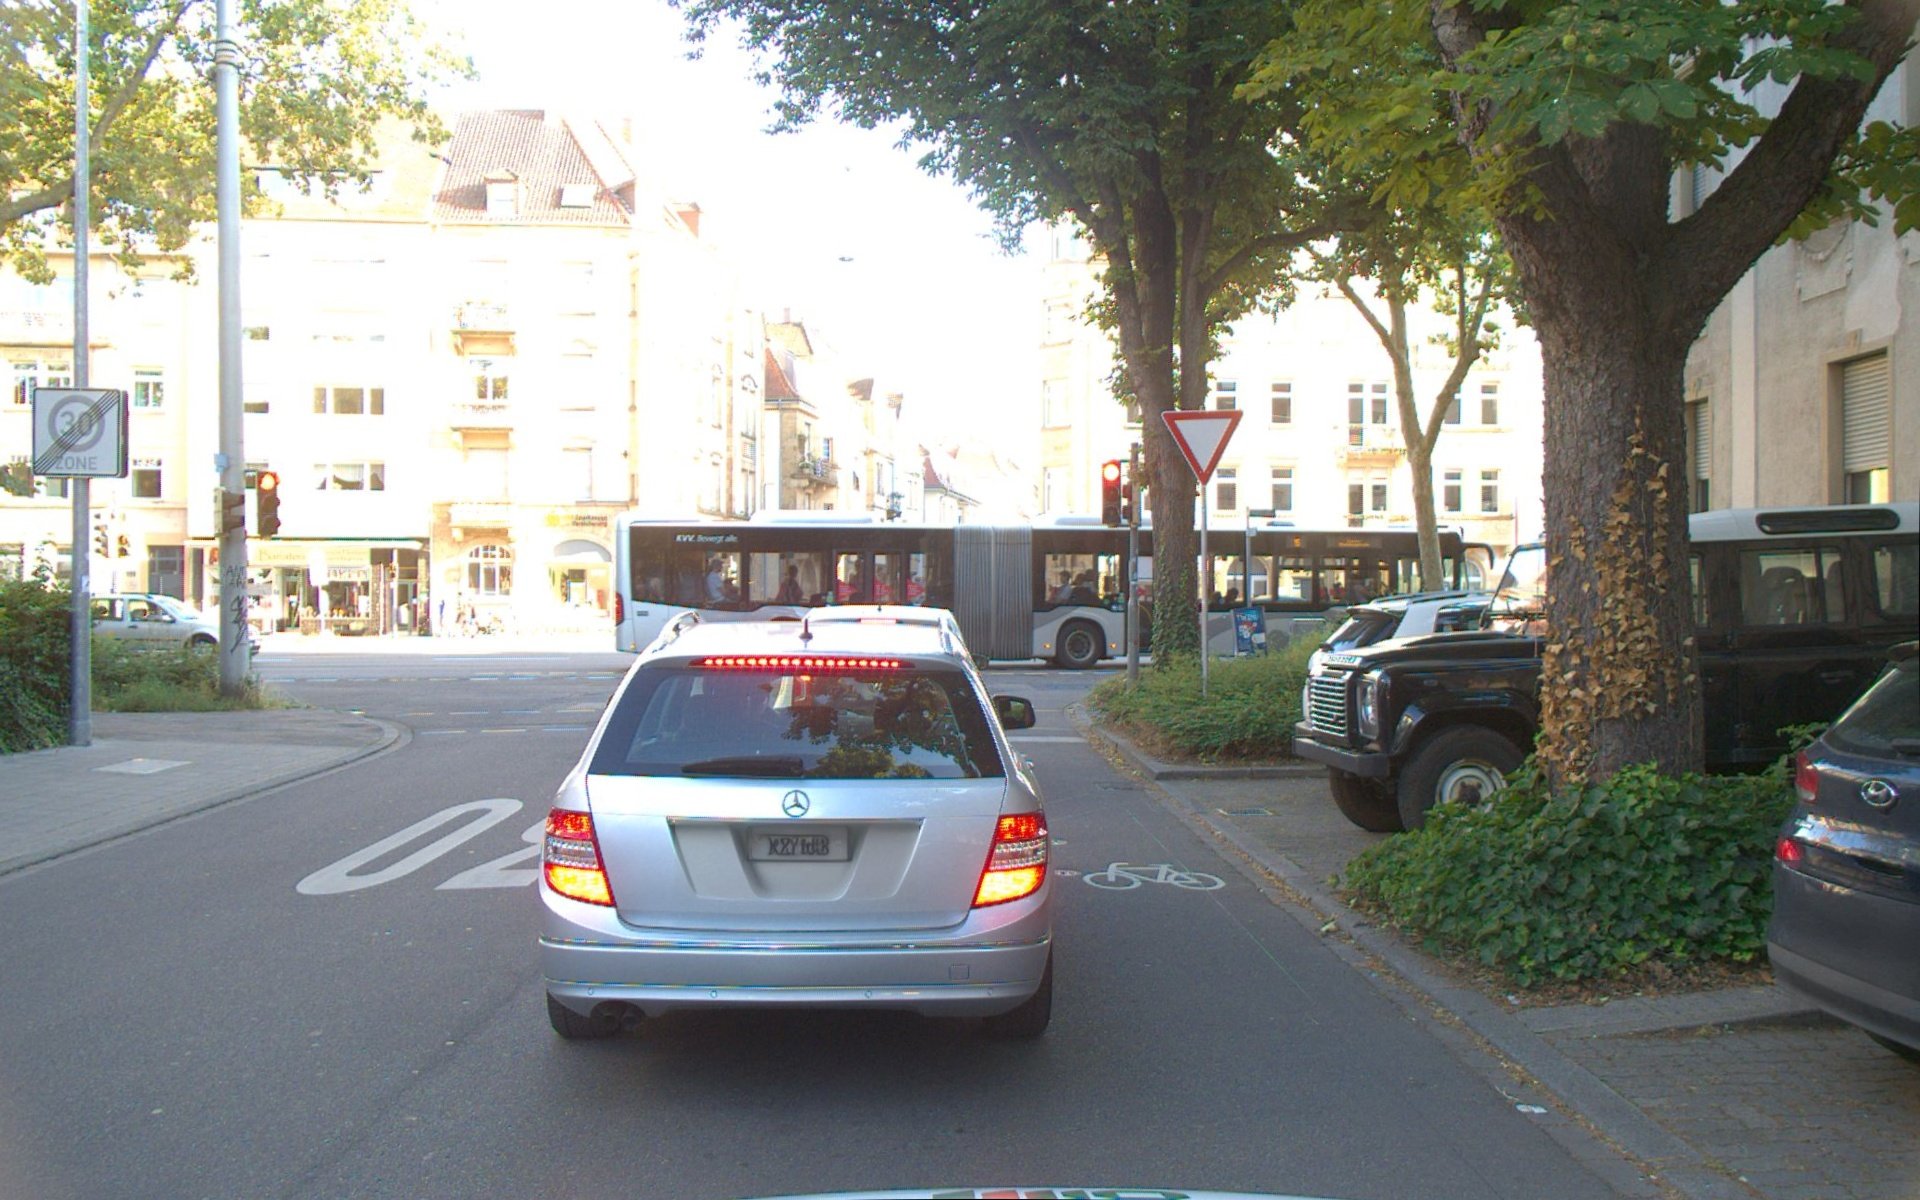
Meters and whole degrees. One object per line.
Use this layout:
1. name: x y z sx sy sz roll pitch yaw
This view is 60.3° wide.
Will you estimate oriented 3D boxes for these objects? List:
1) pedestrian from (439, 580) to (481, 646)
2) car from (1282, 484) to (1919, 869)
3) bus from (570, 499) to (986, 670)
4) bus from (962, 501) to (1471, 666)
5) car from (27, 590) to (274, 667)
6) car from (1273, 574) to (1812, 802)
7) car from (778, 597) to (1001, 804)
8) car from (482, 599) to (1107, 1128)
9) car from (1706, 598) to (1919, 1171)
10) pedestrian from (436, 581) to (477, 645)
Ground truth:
1. pedestrian: -19.179 0.502 63.500 1.320 2.507 1.059 0 0 -5
2. car: 4.369 0.406 10.173 4.377 2.072 1.699 -1 0 -4
3. bus: -3.667 -0.345 33.582 8.024 3.257 2.906 -1 0 -9
4. bus: 5.335 -0.378 35.021 10.258 3.257 2.906 -1 0 -9
5. car: -16.703 0.566 34.281 4.263 1.523 1.659 0 0 -7
6. car: 4.510 0.650 13.141 3.650 1.597 1.707 -1 0 -4
7. car: -0.591 0.724 14.023 1.587 1.472 4.342 1 0 -2
8. car: -0.551 0.742 6.933 1.741 1.477 4.546 1 0 -2
9. car: 4.283 0.702 4.595 3.650 1.477 1.707 -1 0 -4
10. pedestrian: -19.744 0.508 64.900 1.320 2.507 1.059 0 0 -5
